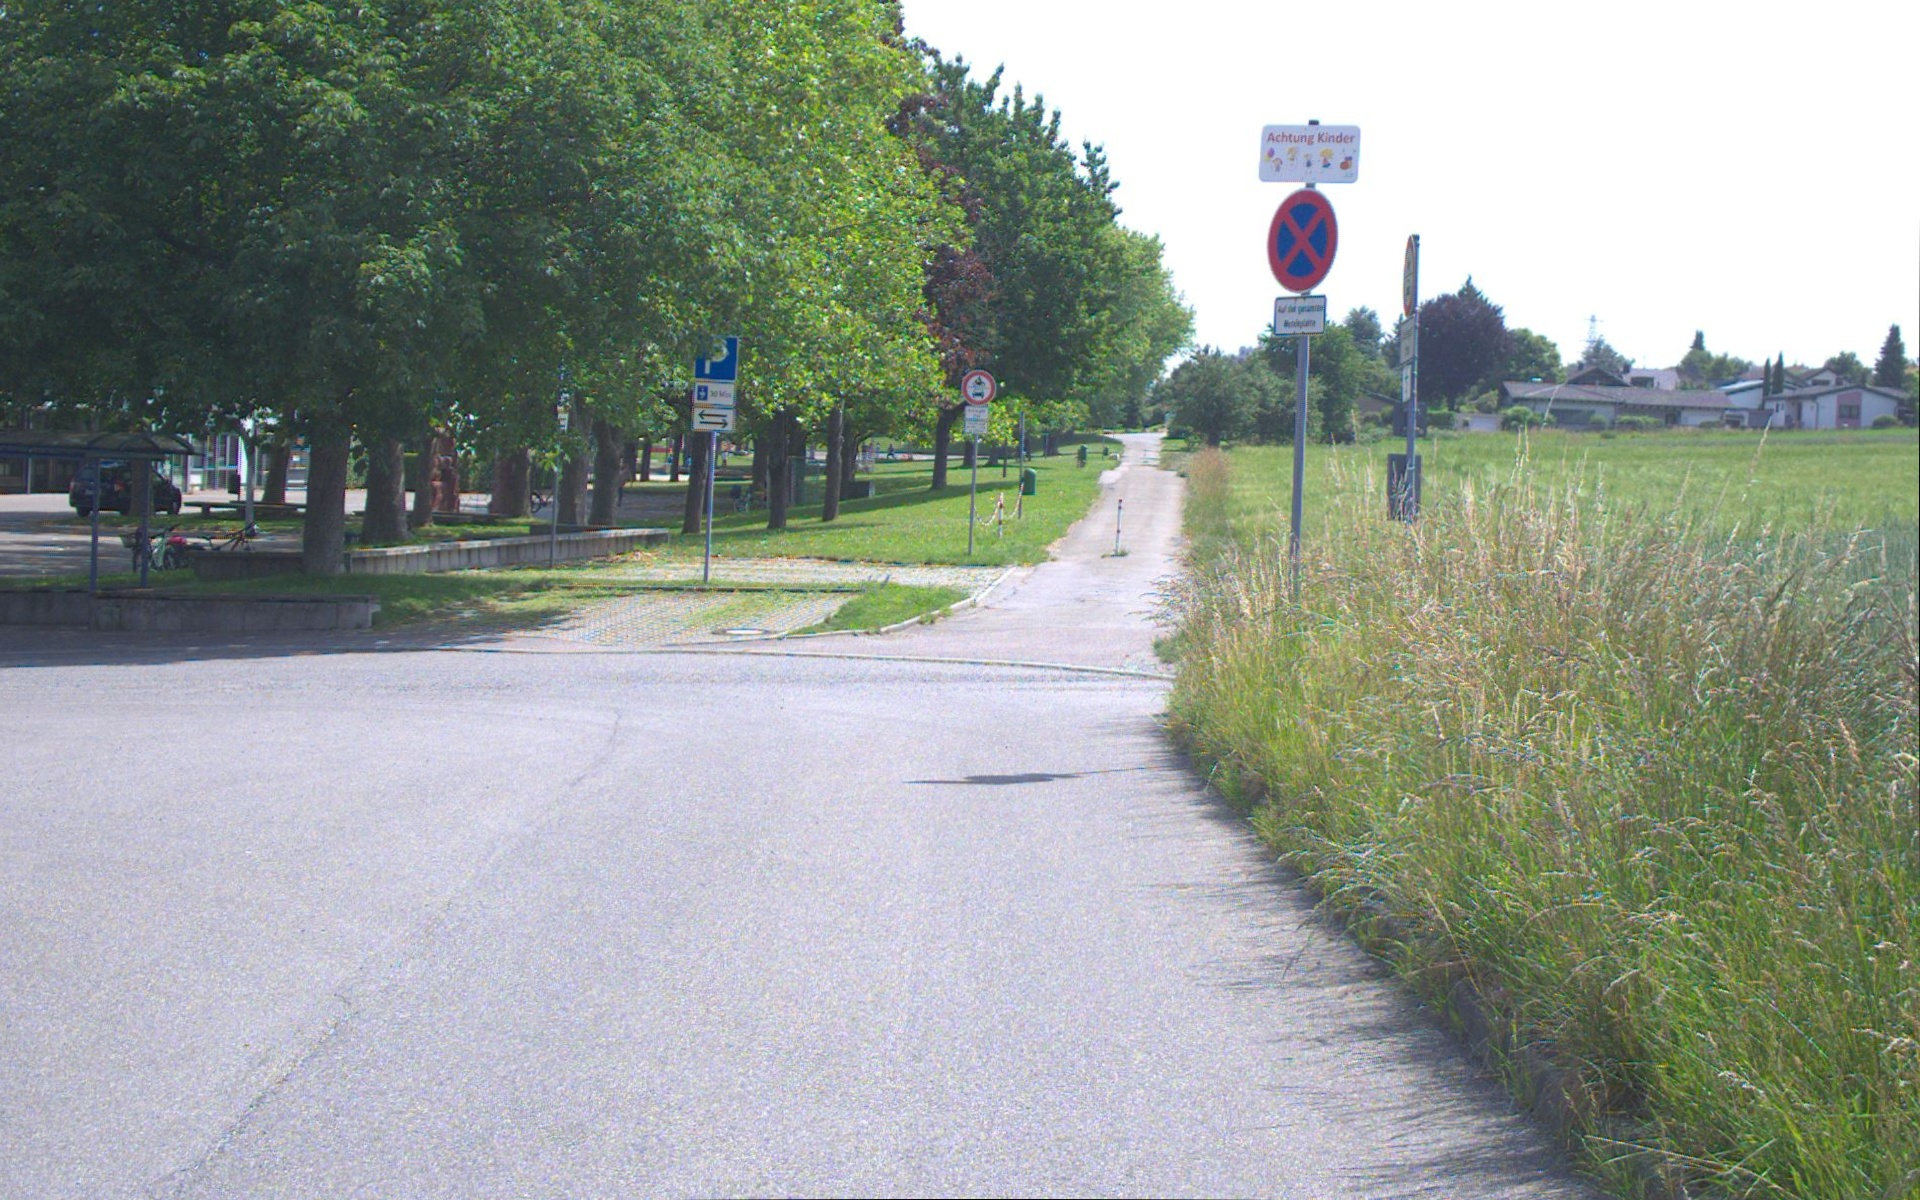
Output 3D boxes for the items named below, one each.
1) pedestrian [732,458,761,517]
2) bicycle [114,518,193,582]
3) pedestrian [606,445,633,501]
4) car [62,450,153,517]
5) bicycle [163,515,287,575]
[{"bbox_3d":[-7.298,-3.849,117.516,0.682,2.006,0.803,1,2,-30],"label":"pedestrian"},{"bbox_3d":[-13.593,-0.851,57.987,0.595,1.035,1.892,1,2,10],"label":"bicycle"},{"bbox_3d":[-12.404,-4.609,125.158,0.832,2.006,0.692,1,2,-13],"label":"pedestrian"},{"bbox_3d":[-24.065,-3.294,97.100,1.691,1.828,3.411,1,2,0],"label":"car"},{"bbox_3d":[-12.816,-0.962,59.979,2.062,1.035,0.572,0,2,-5],"label":"bicycle"}]
